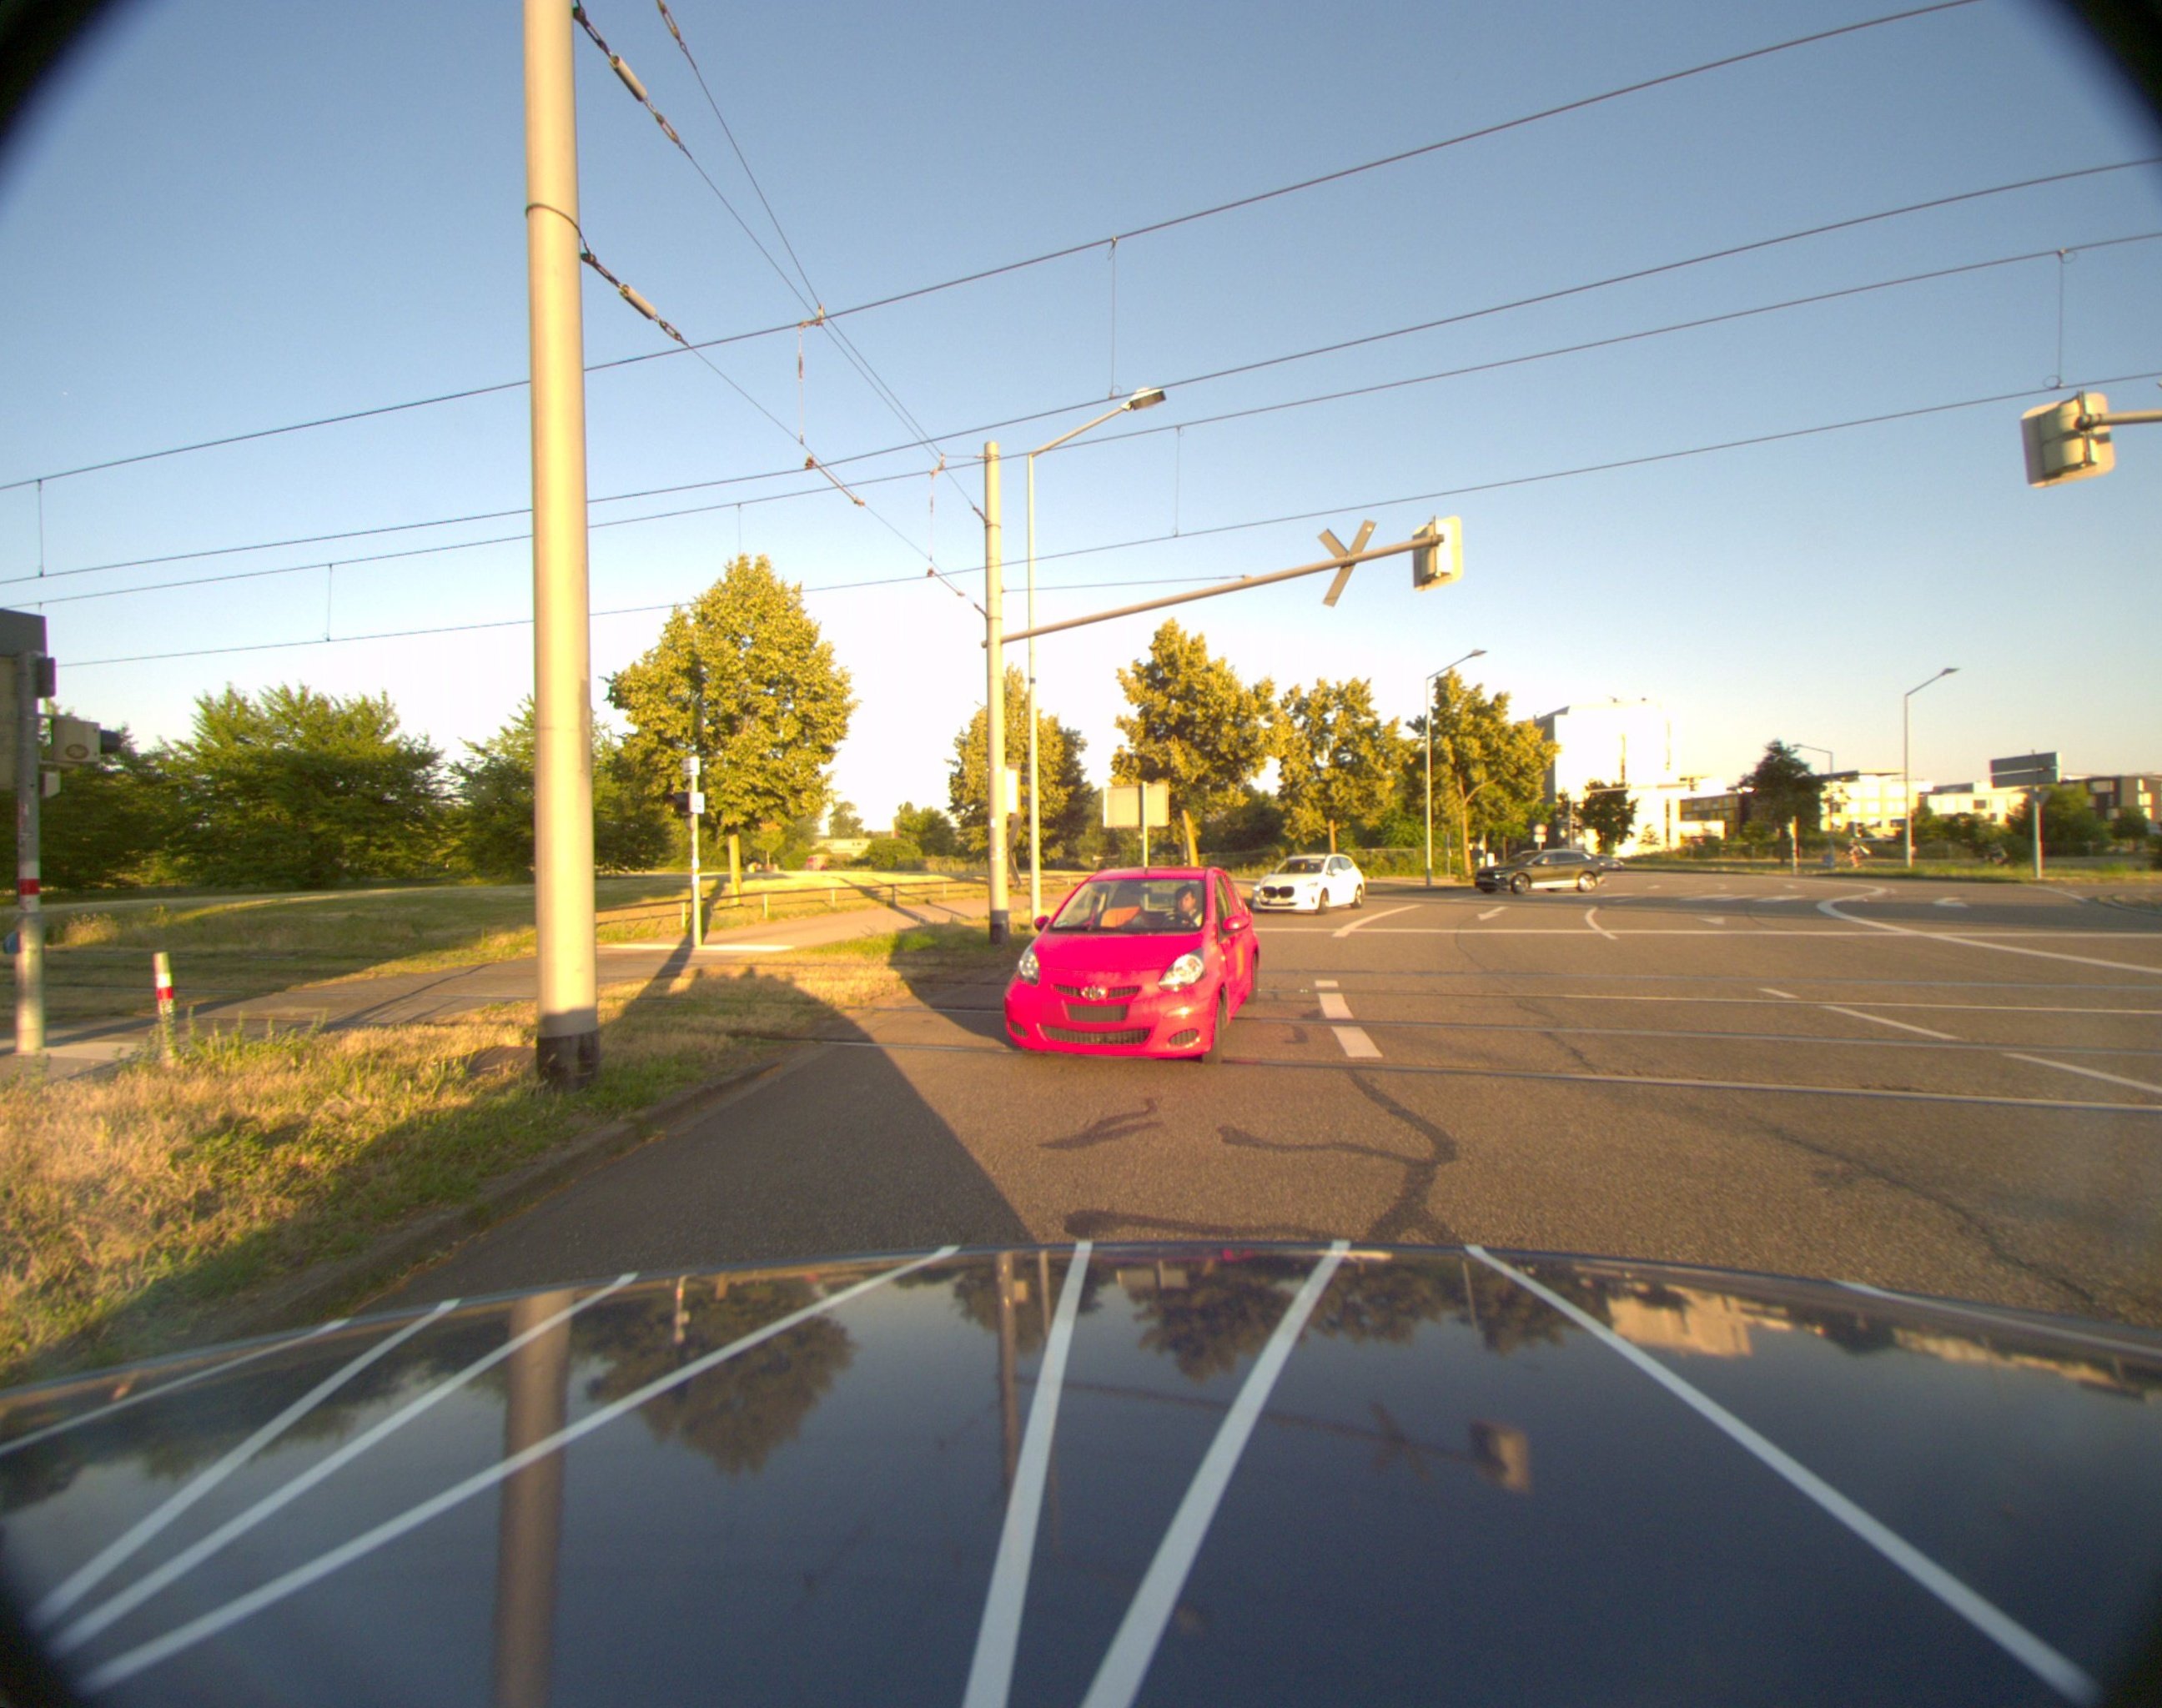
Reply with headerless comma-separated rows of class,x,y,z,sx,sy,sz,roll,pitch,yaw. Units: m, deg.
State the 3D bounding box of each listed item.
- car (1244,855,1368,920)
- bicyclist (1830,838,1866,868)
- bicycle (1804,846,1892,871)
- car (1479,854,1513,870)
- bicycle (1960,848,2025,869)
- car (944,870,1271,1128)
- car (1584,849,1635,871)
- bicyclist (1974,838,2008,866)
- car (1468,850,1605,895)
car,6.190,0.828,20.610,1.755,1.549,4.224,-2,-1,38
bicyclist,44.339,-0.058,43.950,1.413,1.739,1.126,0,1,42
bicycle,44.306,0.283,43.977,3.529,1.387,1.126,-1,1,42
car,42.867,0.806,78.608,1.870,1.616,4.196,-1,1,10
bicycle,52.794,0.242,44.028,2.323,1.172,0.812,-1,1,21
car,0.609,0.945,6.827,1.691,1.413,4.216,-2,0,20
car,43.071,0.471,61.997,1.870,1.616,4.196,-1,1,11
bicyclist,52.750,-0.115,44.044,0.998,1.623,0.812,-1,1,21
car,17.074,0.666,28.549,4.215,1.549,1.827,-1,0,-9
